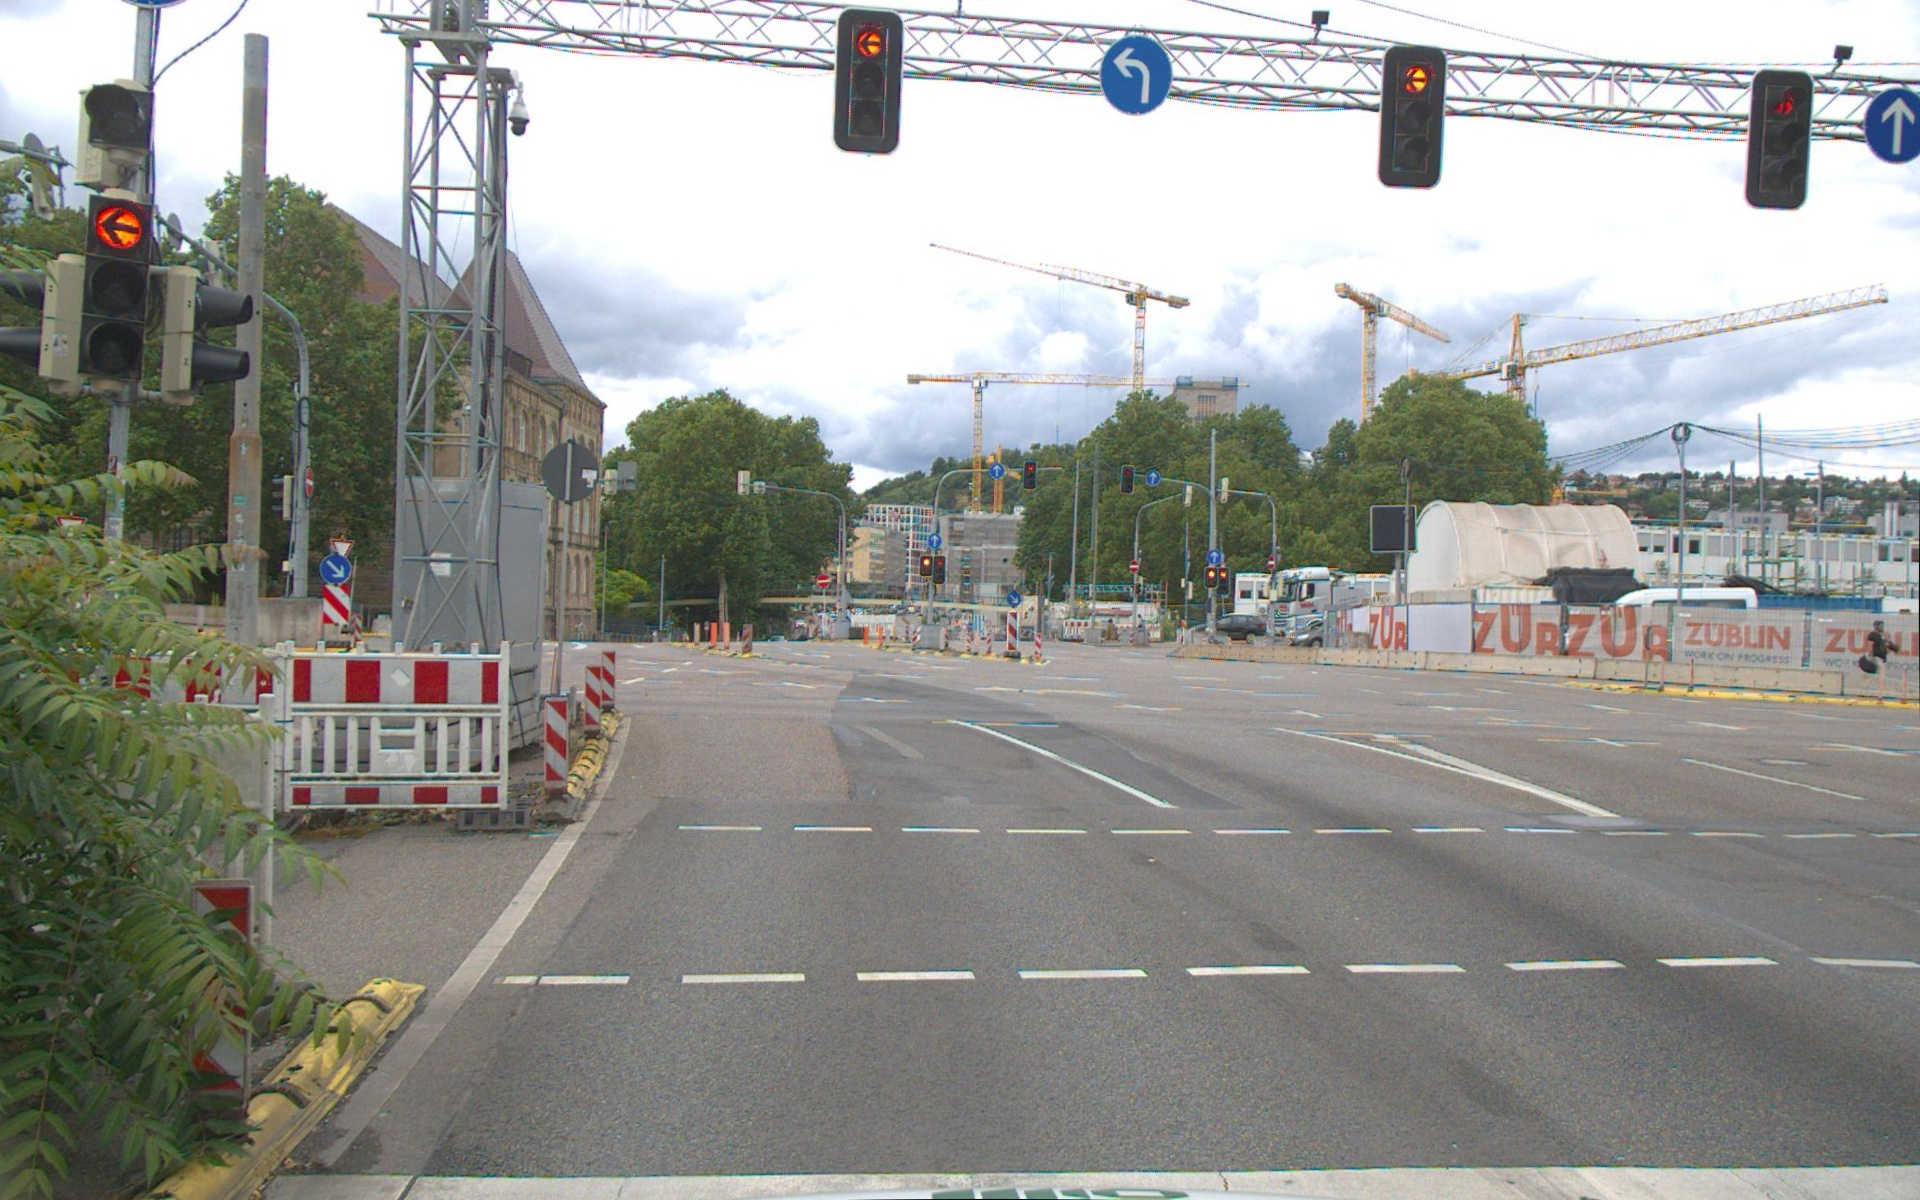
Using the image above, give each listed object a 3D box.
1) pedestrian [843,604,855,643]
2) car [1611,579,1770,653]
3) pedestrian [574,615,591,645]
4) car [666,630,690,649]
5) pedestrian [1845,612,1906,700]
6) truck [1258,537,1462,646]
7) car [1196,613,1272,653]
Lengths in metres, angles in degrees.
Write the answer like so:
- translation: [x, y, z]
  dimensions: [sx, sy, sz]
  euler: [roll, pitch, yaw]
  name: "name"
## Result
- translation: [-5.406, 1.133, 80.589]
  dimensions: [0.574, 1.872, 0.604]
  euler: [1, -1, -4]
  name: "pedestrian"
- translation: [21.057, 0.449, 47.824]
  dimensions: [3.902, 2.049, 2.001]
  euler: [1, 0, 15]
  name: "car"
- translation: [-26.175, 2.077, 114.755]
  dimensions: [0.930, 2.049, 0.766]
  euler: [1, -1, 1]
  name: "pedestrian"
- translation: [-29.343, 4.114, 172.216]
  dimensions: [1.954, 1.870, 3.997]
  euler: [1, 0, -3]
  name: "car"
- translation: [21.834, 1.317, 39.425]
  dimensions: [1.039, 2.049, 1.017]
  euler: [1, -1, -45]
  name: "pedestrian"
- translation: [19.656, -0.361, 81.296]
  dimensions: [9.565, 5.047, 3.097]
  euler: [1, -1, -19]
  name: "truck"
- translation: [14.887, 1.768, 89.733]
  dimensions: [3.902, 2.049, 2.001]
  euler: [1, 0, 15]
  name: "car"
